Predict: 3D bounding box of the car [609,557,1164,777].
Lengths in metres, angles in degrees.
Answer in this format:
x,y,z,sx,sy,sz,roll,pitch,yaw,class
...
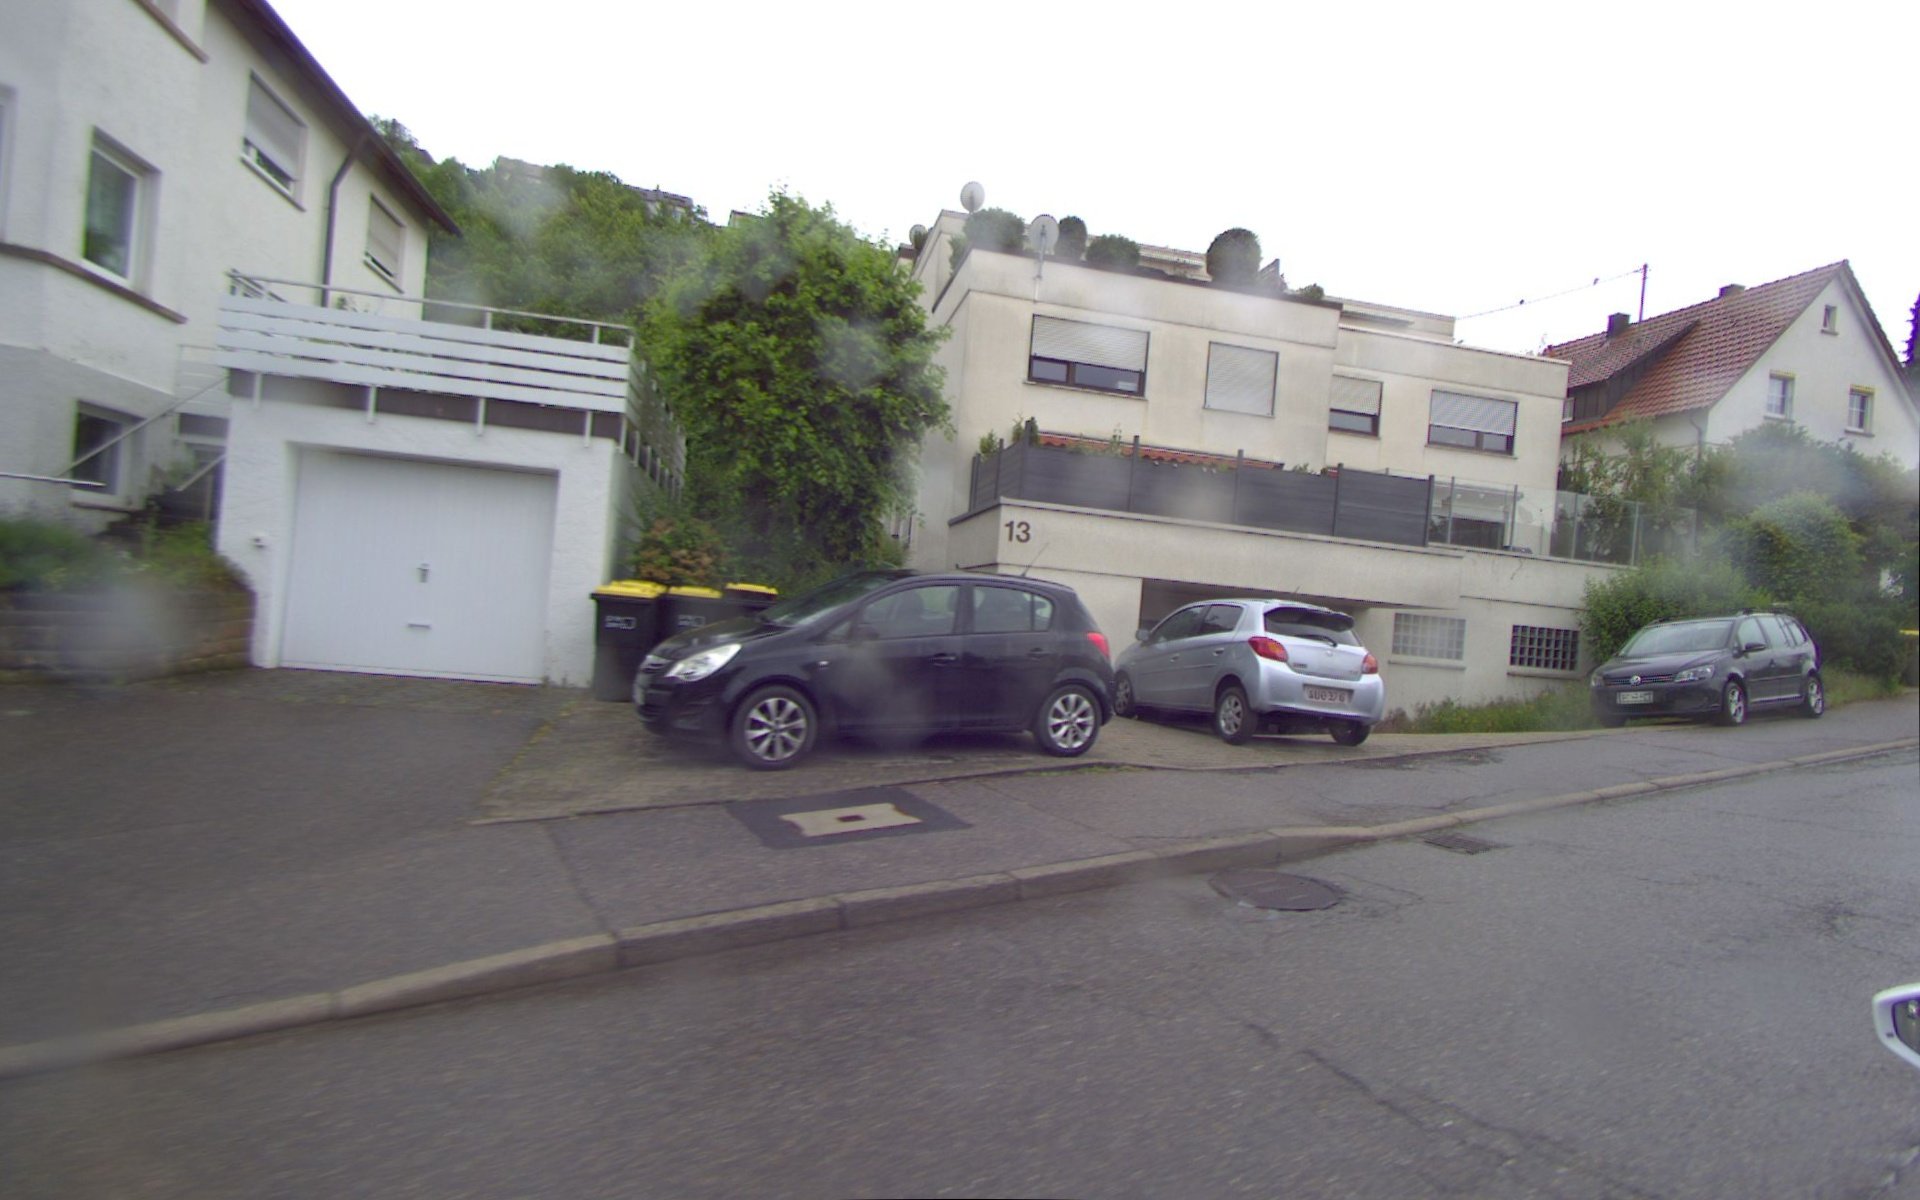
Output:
x,y,z,sx,sy,sz,roll,pitch,yaw,class
-0.588,0.469,8.291,4.191,1.395,1.760,2,3,-26,car

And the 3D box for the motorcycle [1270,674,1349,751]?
x,y,z,sx,sy,sz,roll,pitch,yaw,class
6.666,2.120,19.261,0.633,1.268,1.891,1,0,-7,motorcycle

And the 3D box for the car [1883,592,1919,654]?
x,y,z,sx,sy,sz,roll,pitch,yaw,class
28.785,0.825,27.974,1.864,1.715,4.050,2,4,-19,car

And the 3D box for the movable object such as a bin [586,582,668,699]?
x,y,z,sx,sy,sz,roll,pitch,yaw,class
-3.167,0.380,9.604,0.689,1.071,0.750,1,-1,-16,movable object such as a bin

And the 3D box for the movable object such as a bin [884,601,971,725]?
x,y,z,sx,sy,sz,roll,pitch,yaw,class
-0.334,0.614,10.081,0.689,1.181,0.750,1,-1,-16,movable object such as a bin

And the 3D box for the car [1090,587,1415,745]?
x,y,z,sx,sy,sz,roll,pitch,yaw,class
3.121,0.829,11.622,1.775,1.496,3.828,1,-6,-17,car

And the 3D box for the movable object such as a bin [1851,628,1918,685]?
x,y,z,sx,sy,sz,roll,pitch,yaw,class
18.337,1.113,19.927,0.697,1.097,0.698,1,0,-12,movable object such as a bin

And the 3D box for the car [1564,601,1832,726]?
x,y,z,sx,sy,sz,roll,pitch,yaw,class
11.095,0.887,15.018,4.370,1.618,1.793,2,-1,-33,car

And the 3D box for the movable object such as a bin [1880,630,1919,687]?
x,y,z,sx,sy,sz,roll,pitch,yaw,class
19.054,1.168,20.071,0.697,1.097,0.698,1,0,-13,movable object such as a bin
